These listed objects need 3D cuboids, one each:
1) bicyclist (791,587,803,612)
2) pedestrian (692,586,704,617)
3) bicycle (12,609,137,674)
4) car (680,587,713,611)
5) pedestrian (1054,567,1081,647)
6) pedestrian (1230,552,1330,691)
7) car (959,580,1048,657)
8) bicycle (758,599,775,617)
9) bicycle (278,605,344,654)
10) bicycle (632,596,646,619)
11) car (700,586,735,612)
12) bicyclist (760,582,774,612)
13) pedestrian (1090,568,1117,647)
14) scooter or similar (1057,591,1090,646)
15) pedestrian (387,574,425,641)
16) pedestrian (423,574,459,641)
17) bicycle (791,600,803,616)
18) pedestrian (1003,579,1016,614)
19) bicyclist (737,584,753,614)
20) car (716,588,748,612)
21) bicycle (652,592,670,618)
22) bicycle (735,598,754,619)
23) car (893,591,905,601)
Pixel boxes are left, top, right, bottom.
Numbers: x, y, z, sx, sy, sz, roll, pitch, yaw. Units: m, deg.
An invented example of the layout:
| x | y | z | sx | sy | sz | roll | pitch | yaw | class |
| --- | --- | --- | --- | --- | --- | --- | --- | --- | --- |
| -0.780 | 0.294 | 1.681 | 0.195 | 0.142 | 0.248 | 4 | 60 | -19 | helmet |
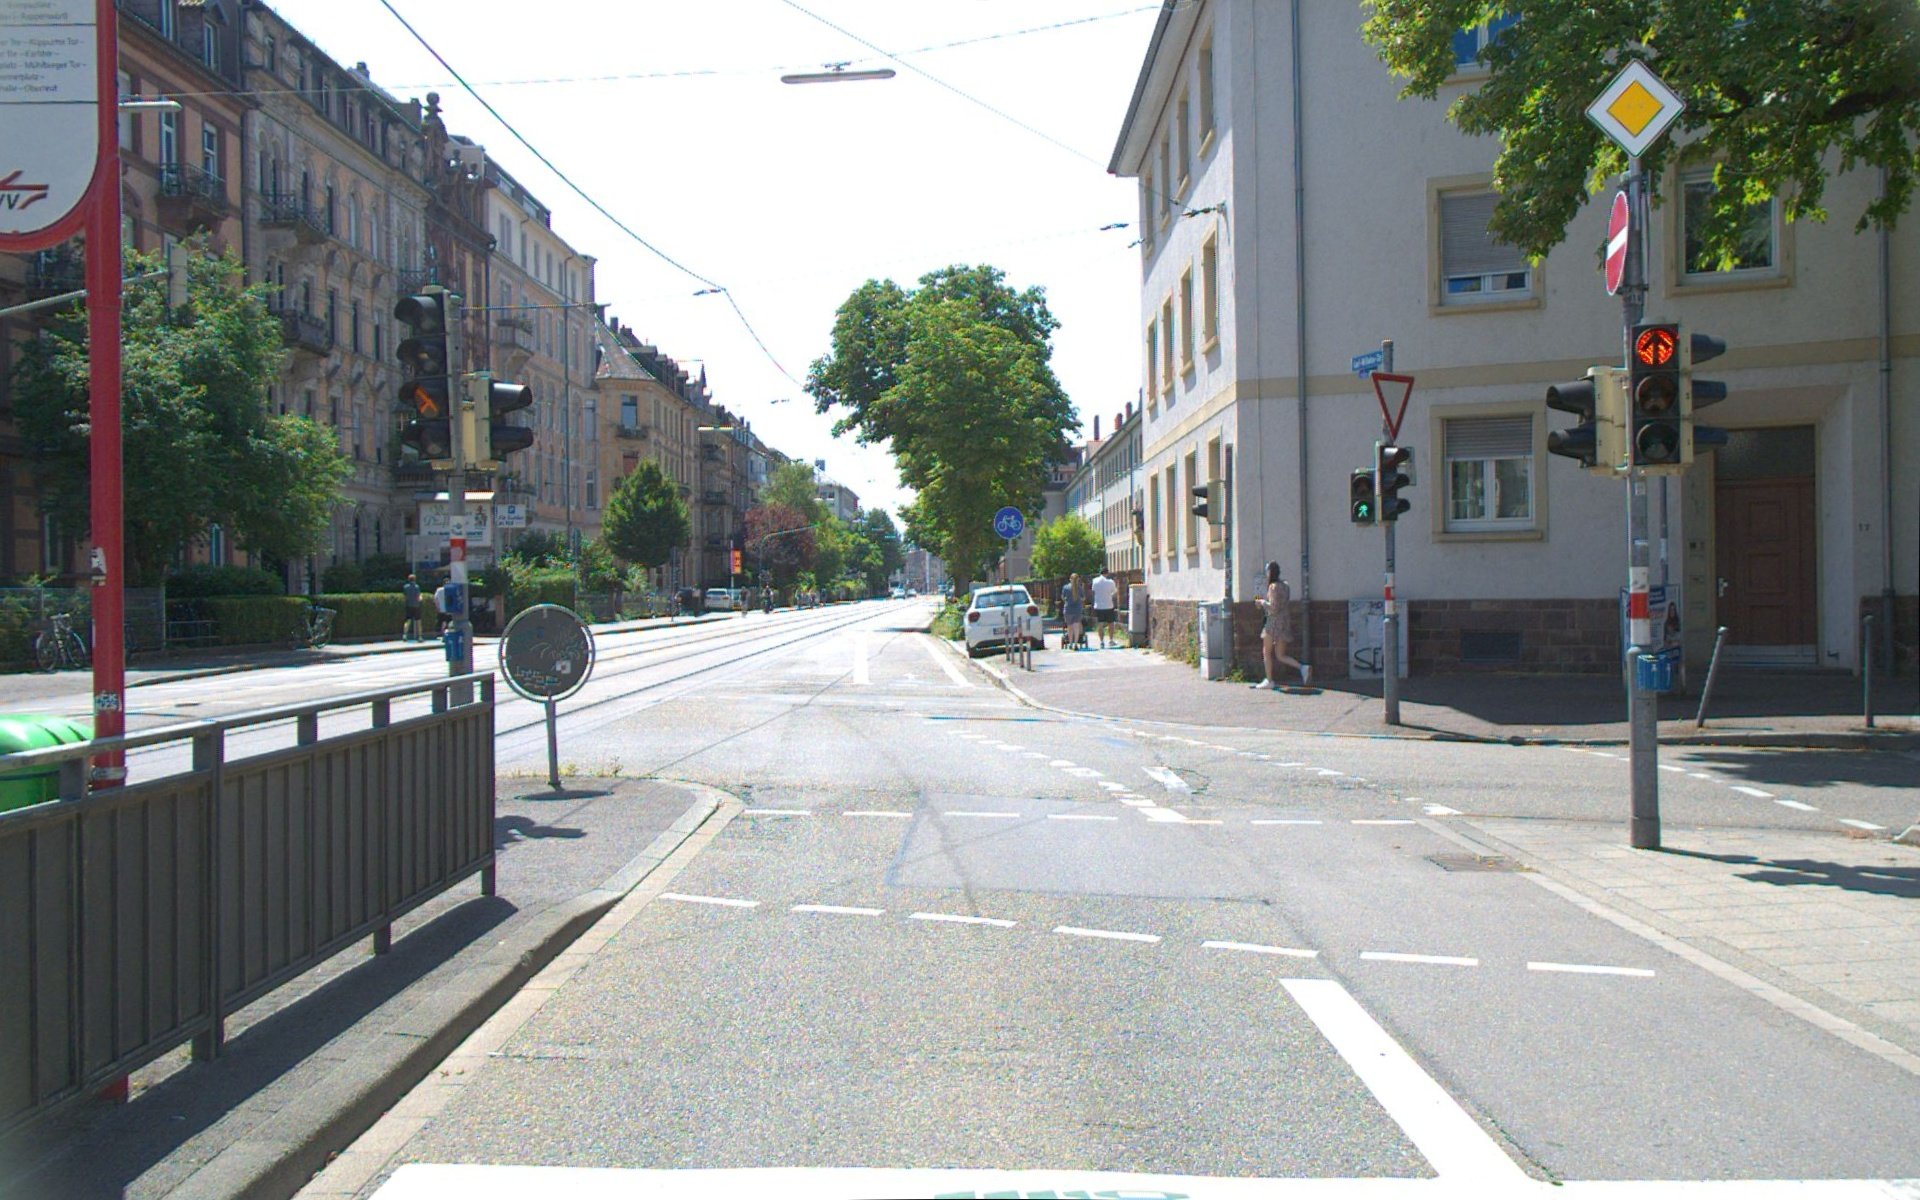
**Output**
| x | y | z | sx | sy | sz | roll | pitch | yaw | class |
| --- | --- | --- | --- | --- | --- | --- | --- | --- | --- |
| -12.505 | -0.041 | 126.886 | 0.712 | 1.850 | 1.079 | 1 | 0 | 1 | bicyclist |
| -14.071 | 0.077 | 88.845 | 0.510 | 1.688 | 0.529 | -1 | 0 | -1 | pedestrian |
| -16.706 | 0.762 | 31.305 | 0.918 | 1.156 | 2.773 | 1 | 0 | -2 | bicycle |
| -19.666 | -0.058 | 123.608 | 1.880 | 1.745 | 3.999 | 1 | 0 | -1 | car |
| 2.301 | 0.143 | 35.254 | 0.545 | 1.674 | 0.677 | 1 | -1 | 4 | pedestrian |
| 4.259 | 0.283 | 22.022 | 1.033 | 1.719 | 0.653 | -4 | 3 | 27 | pedestrian |
| 0.935 | 0.400 | 37.320 | 1.778 | 1.542 | 3.999 | -3 | 0 | -1 | car |
| -12.113 | 0.490 | 103.530 | 0.712 | 1.142 | 2.085 | 1 | 0 | 1 | bicycle |
| -15.863 | 0.703 | 40.518 | 0.920 | 1.156 | 2.767 | 1 | 0 | -9 | bicycle |
| -15.491 | 0.341 | 79.788 | 0.665 | 1.083 | 1.913 | -1 | 0 | -12 | bicycle |
| -16.866 | -0.046 | 115.313 | 1.880 | 1.745 | 3.999 | 1 | 0 | -1 | car |
| -12.096 | -0.186 | 103.650 | 0.712 | 1.799 | 1.079 | 1 | 0 | 1 | bicyclist |
| 3.083 | 0.158 | 35.613 | 0.545 | 1.674 | 0.677 | 1 | -1 | 4 | pedestrian |
| 2.490 | 0.397 | 36.201 | 0.545 | 1.175 | 1.206 | 1 | 0 | 13 | scooter or similar |
| -15.557 | 0.205 | 46.441 | 0.800 | 1.854 | 0.872 | 1 | 1 | -6 | pedestrian |
| -14.738 | 0.205 | 46.969 | 0.800 | 1.854 | 0.872 | 1 | 1 | -6 | pedestrian |
| -12.511 | 0.614 | 126.876 | 0.712 | 1.142 | 2.085 | 1 | 0 | 1 | bicycle |
| 2.291 | -0.165 | 76.579 | 0.511 | 1.590 | 0.573 | -1 | 0 | -1 | pedestrian |
| -11.985 | -0.072 | 92.099 | 0.712 | 1.657 | 1.079 | 1 | 0 | 1 | bicyclist |
| -17.034 | -0.014 | 123.574 | 1.880 | 1.745 | 3.999 | 1 | 0 | -1 | car |
| -15.268 | 0.256 | 84.436 | 0.664 | 1.301 | 1.917 | -1 | 0 | -4 | bicycle |
| -11.979 | 0.463 | 92.090 | 0.712 | 1.142 | 2.085 | 1 | 0 | 1 | bicycle |
| -8.794 | -0.543 | 238.075 | 1.671 | 1.300 | 3.999 | 1 | 0 | -1 | car |
